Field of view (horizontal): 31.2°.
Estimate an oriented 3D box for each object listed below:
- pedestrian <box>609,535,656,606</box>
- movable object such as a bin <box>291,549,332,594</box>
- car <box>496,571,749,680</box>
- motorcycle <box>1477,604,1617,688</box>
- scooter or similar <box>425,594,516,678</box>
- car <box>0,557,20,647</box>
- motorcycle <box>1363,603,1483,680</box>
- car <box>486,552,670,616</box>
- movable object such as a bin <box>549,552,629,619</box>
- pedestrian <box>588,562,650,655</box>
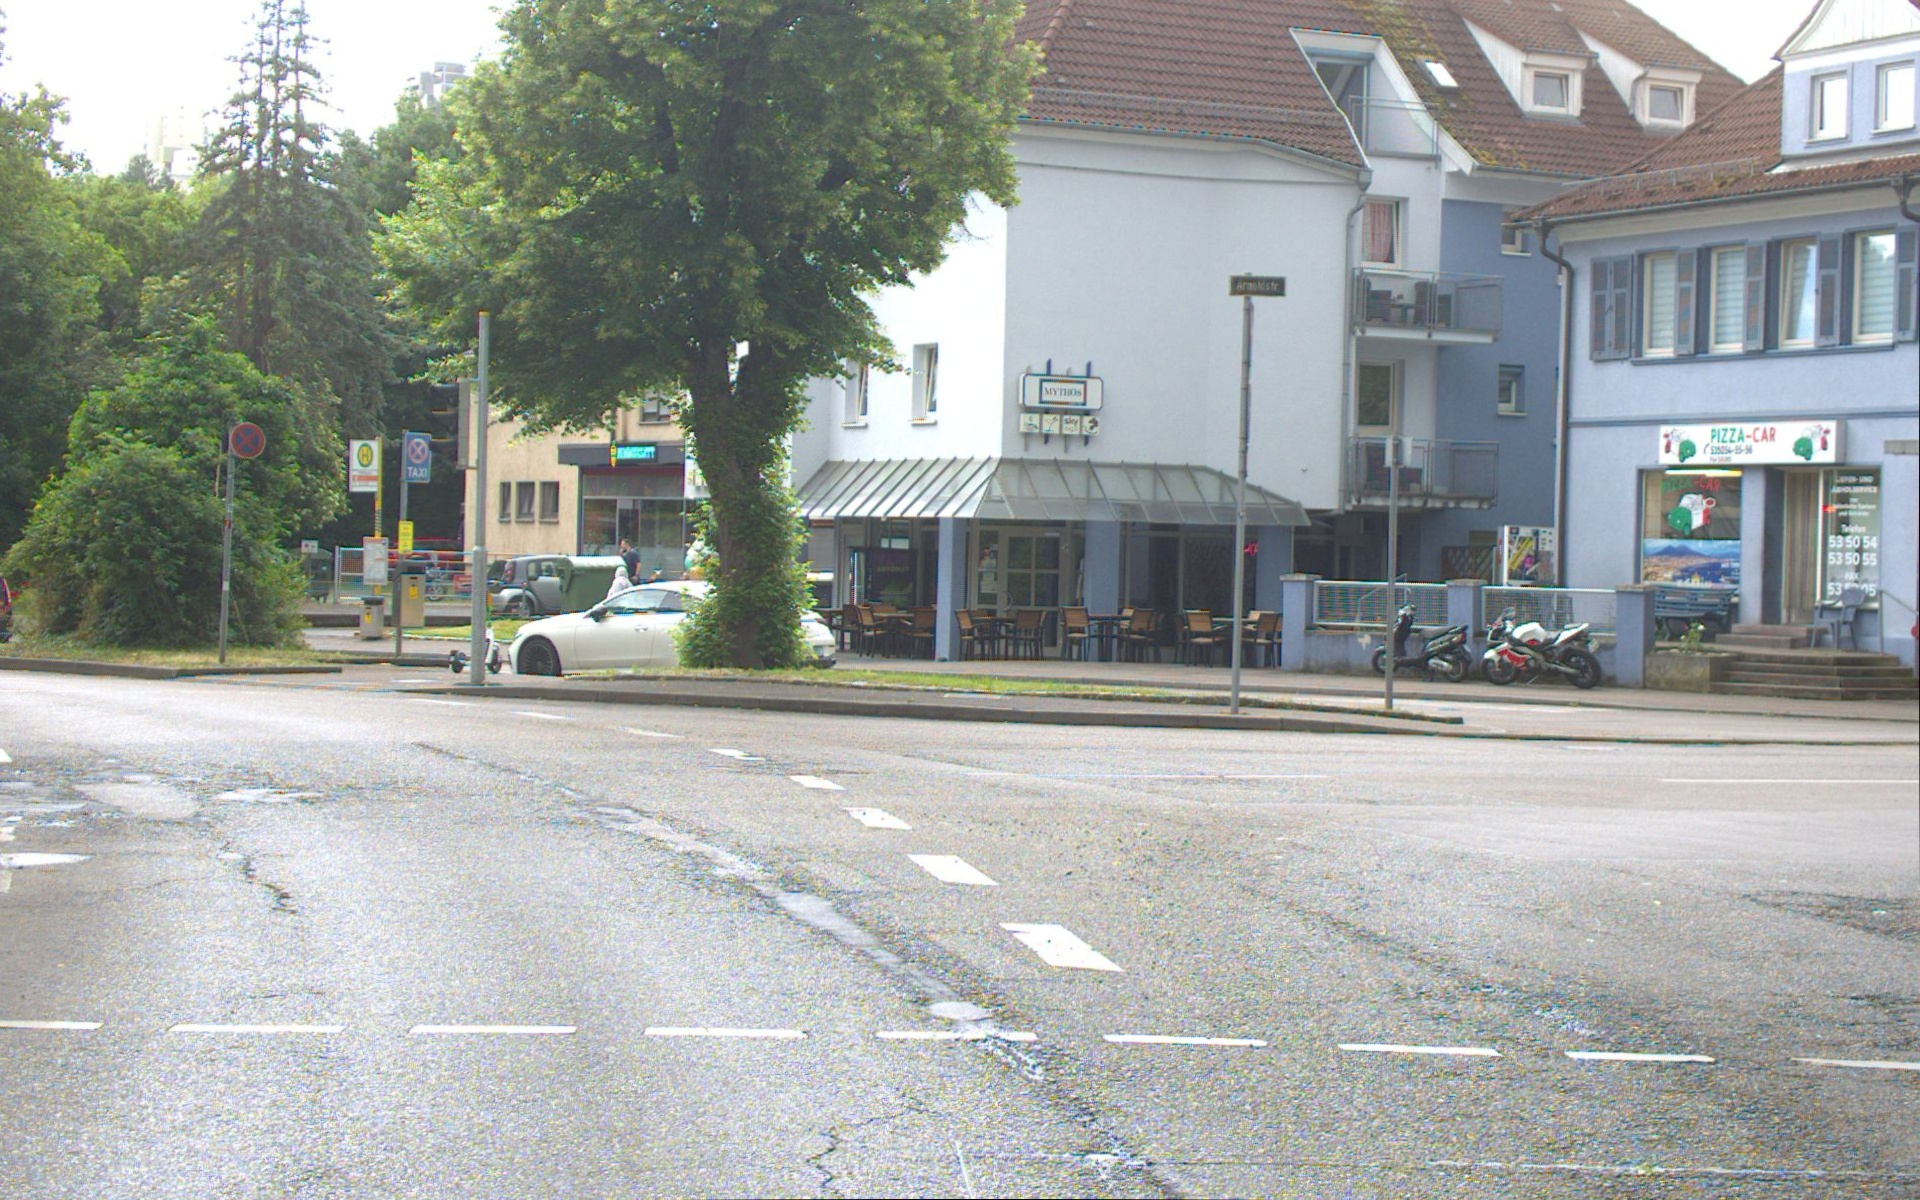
[{"bbox_3d":[-7.161,-0.643,75.175,0.707,1.539,0.677,2,1,38],"label":"pedestrian"},{"bbox_3d":[-16.248,-0.724,86.168,0.950,1.111,0.383,1,1,-21],"label":"movable object such as a bin"},{"bbox_3d":[-4.534,0.320,46.043,3.171,1.350,1.436,2,1,35],"label":"car"},{"bbox_3d":[8.254,0.637,48.380,1.798,1.118,0.693,2,1,38],"label":"motorcycle"},{"bbox_3d":[-6.062,0.436,42.650,0.417,1.008,1.565,1,1,20],"label":"scooter or similar"},{"bbox_3d":[-16.516,-0.007,53.722,3.590,1.389,1.469,2,1,32],"label":"car"},{"bbox_3d":[6.749,0.599,50.158,1.636,1.060,0.693,2,1,44],"label":"motorcycle"},{"bbox_3d":[-8.427,-0.359,75.872,3.733,1.340,1.434,1,1,-26],"label":"car"},{"bbox_3d":[-7.984,-0.318,73.975,1.440,1.404,0.967,1,1,-27],"label":"movable object such as a bin"},{"bbox_3d":[-5.727,0.142,57.736,0.768,1.539,0.677,1,1,39],"label":"pedestrian"}]
